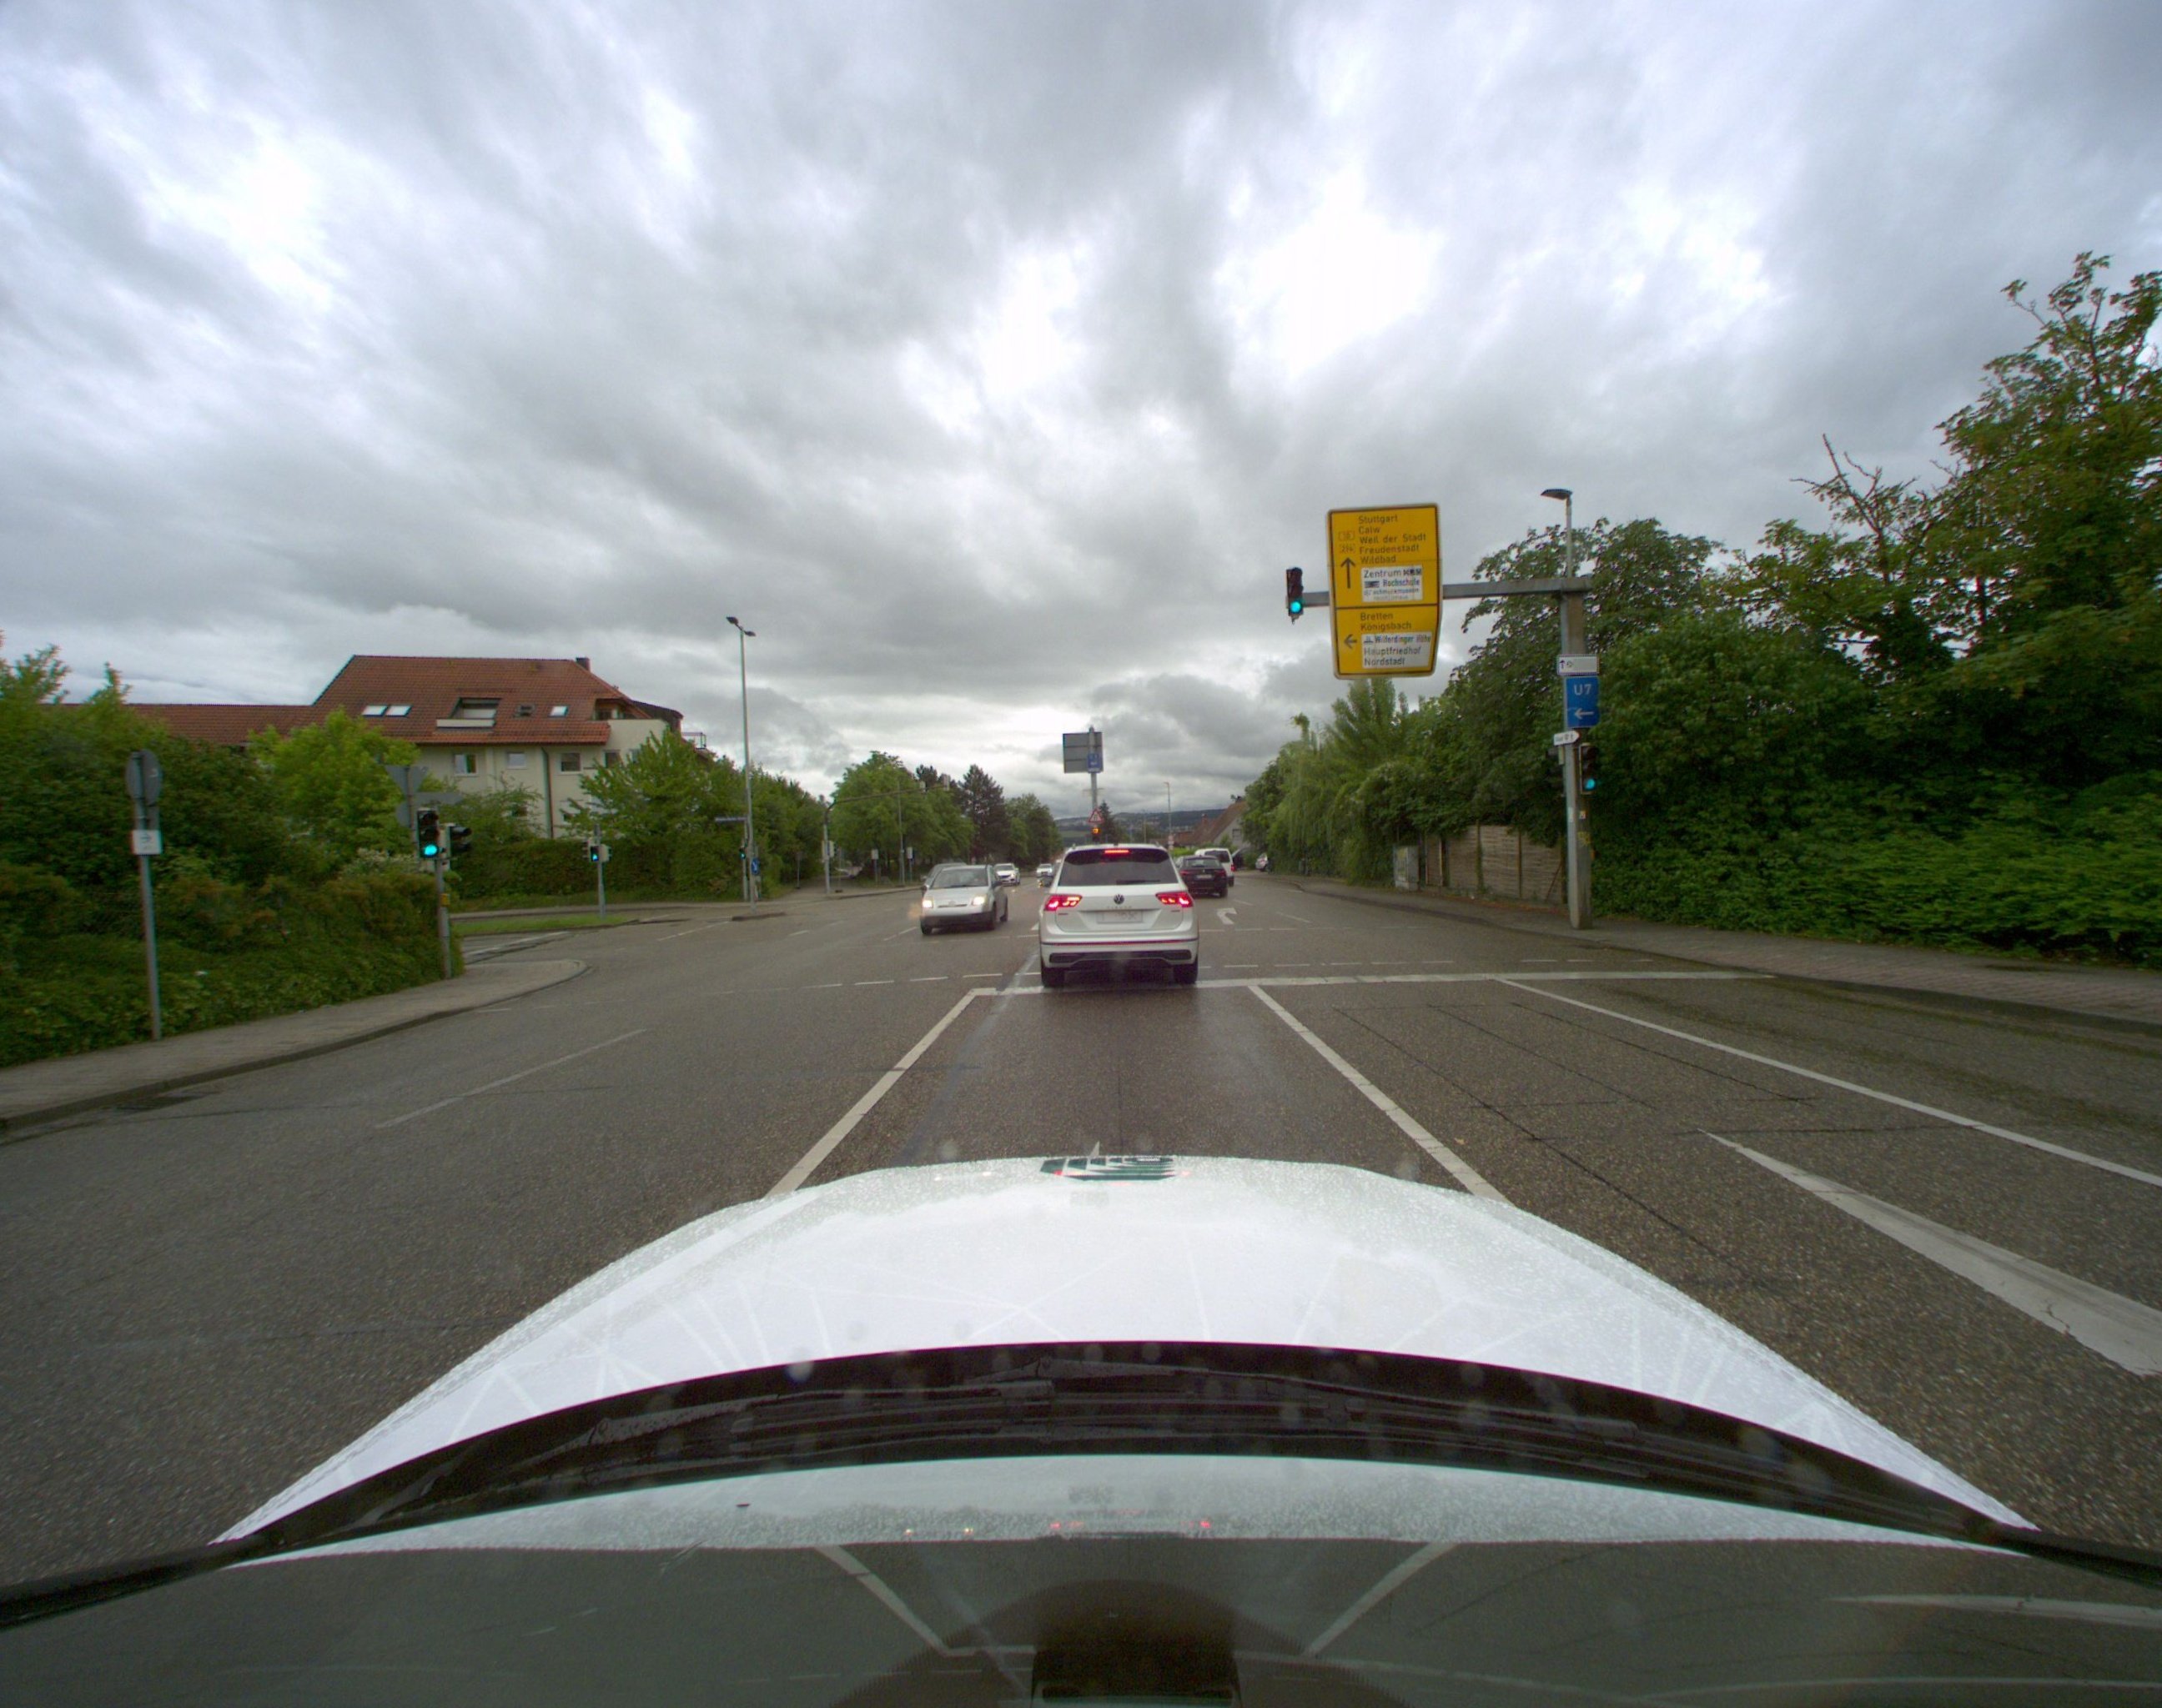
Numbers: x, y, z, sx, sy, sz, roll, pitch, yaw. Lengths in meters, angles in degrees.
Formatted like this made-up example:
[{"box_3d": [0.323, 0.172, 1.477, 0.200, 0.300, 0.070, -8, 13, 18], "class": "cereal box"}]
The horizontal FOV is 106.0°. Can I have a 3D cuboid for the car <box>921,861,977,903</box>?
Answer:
[{"box_3d": [-5.518, 1.129, 34.424, 1.694, 1.599, 3.550, -2, 0, 0], "class": "car"}]

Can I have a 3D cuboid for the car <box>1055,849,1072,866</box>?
[{"box_3d": [-2.605, 0.571, 125.430, 2.289, 2.528, 5.775, -1, 0, 1], "class": "car"}]

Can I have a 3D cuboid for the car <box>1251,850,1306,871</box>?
[{"box_3d": [14.867, 0.478, 61.401, 3.706, 1.395, 1.726, -3, -1, -4], "class": "car"}]

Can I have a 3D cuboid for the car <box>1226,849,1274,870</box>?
[{"box_3d": [14.330, 0.463, 69.184, 3.618, 1.626, 1.790, -1, -2, -2], "class": "car"}]

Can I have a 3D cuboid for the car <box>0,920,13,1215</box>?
[{"box_3d": [-6.284, 1.094, 1.856, 1.779, 1.460, 4.432, -2, 0, 0], "class": "car"}]

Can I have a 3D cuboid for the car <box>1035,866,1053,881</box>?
[{"box_3d": [-3.981, 2.091, 88.211, 1.740, 1.397, 3.802, -2, 0, 0], "class": "car"}]

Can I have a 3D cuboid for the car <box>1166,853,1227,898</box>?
[{"box_3d": [4.037, 0.708, 28.996, 1.674, 1.460, 3.802, -1, 0, 1], "class": "car"}]

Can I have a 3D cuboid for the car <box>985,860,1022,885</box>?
[{"box_3d": [-5.126, 1.207, 54.292, 1.961, 1.454, 4.308, -2, 0, 0], "class": "car"}]

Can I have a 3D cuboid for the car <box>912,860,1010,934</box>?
[{"box_3d": [-2.694, 0.923, 19.031, 1.633, 1.460, 3.519, -3, 0, 1], "class": "car"}]

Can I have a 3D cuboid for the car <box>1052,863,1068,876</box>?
[{"box_3d": [-2.600, 1.977, 103.089, 1.769, 1.502, 4.473, -4, 0, 1], "class": "car"}]

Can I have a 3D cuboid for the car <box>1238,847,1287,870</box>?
[{"box_3d": [14.882, 0.361, 66.800, 3.617, 1.747, 1.707, -2, -1, -2], "class": "car"}]

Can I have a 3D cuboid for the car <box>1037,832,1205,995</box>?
[{"box_3d": [0.477, 0.634, 10.788, 1.756, 1.696, 4.274, -1, 0, 1], "class": "car"}]

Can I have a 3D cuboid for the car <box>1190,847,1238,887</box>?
[{"box_3d": [6.388, 0.591, 39.567, 1.706, 1.758, 3.802, -2, 0, 1], "class": "car"}]
